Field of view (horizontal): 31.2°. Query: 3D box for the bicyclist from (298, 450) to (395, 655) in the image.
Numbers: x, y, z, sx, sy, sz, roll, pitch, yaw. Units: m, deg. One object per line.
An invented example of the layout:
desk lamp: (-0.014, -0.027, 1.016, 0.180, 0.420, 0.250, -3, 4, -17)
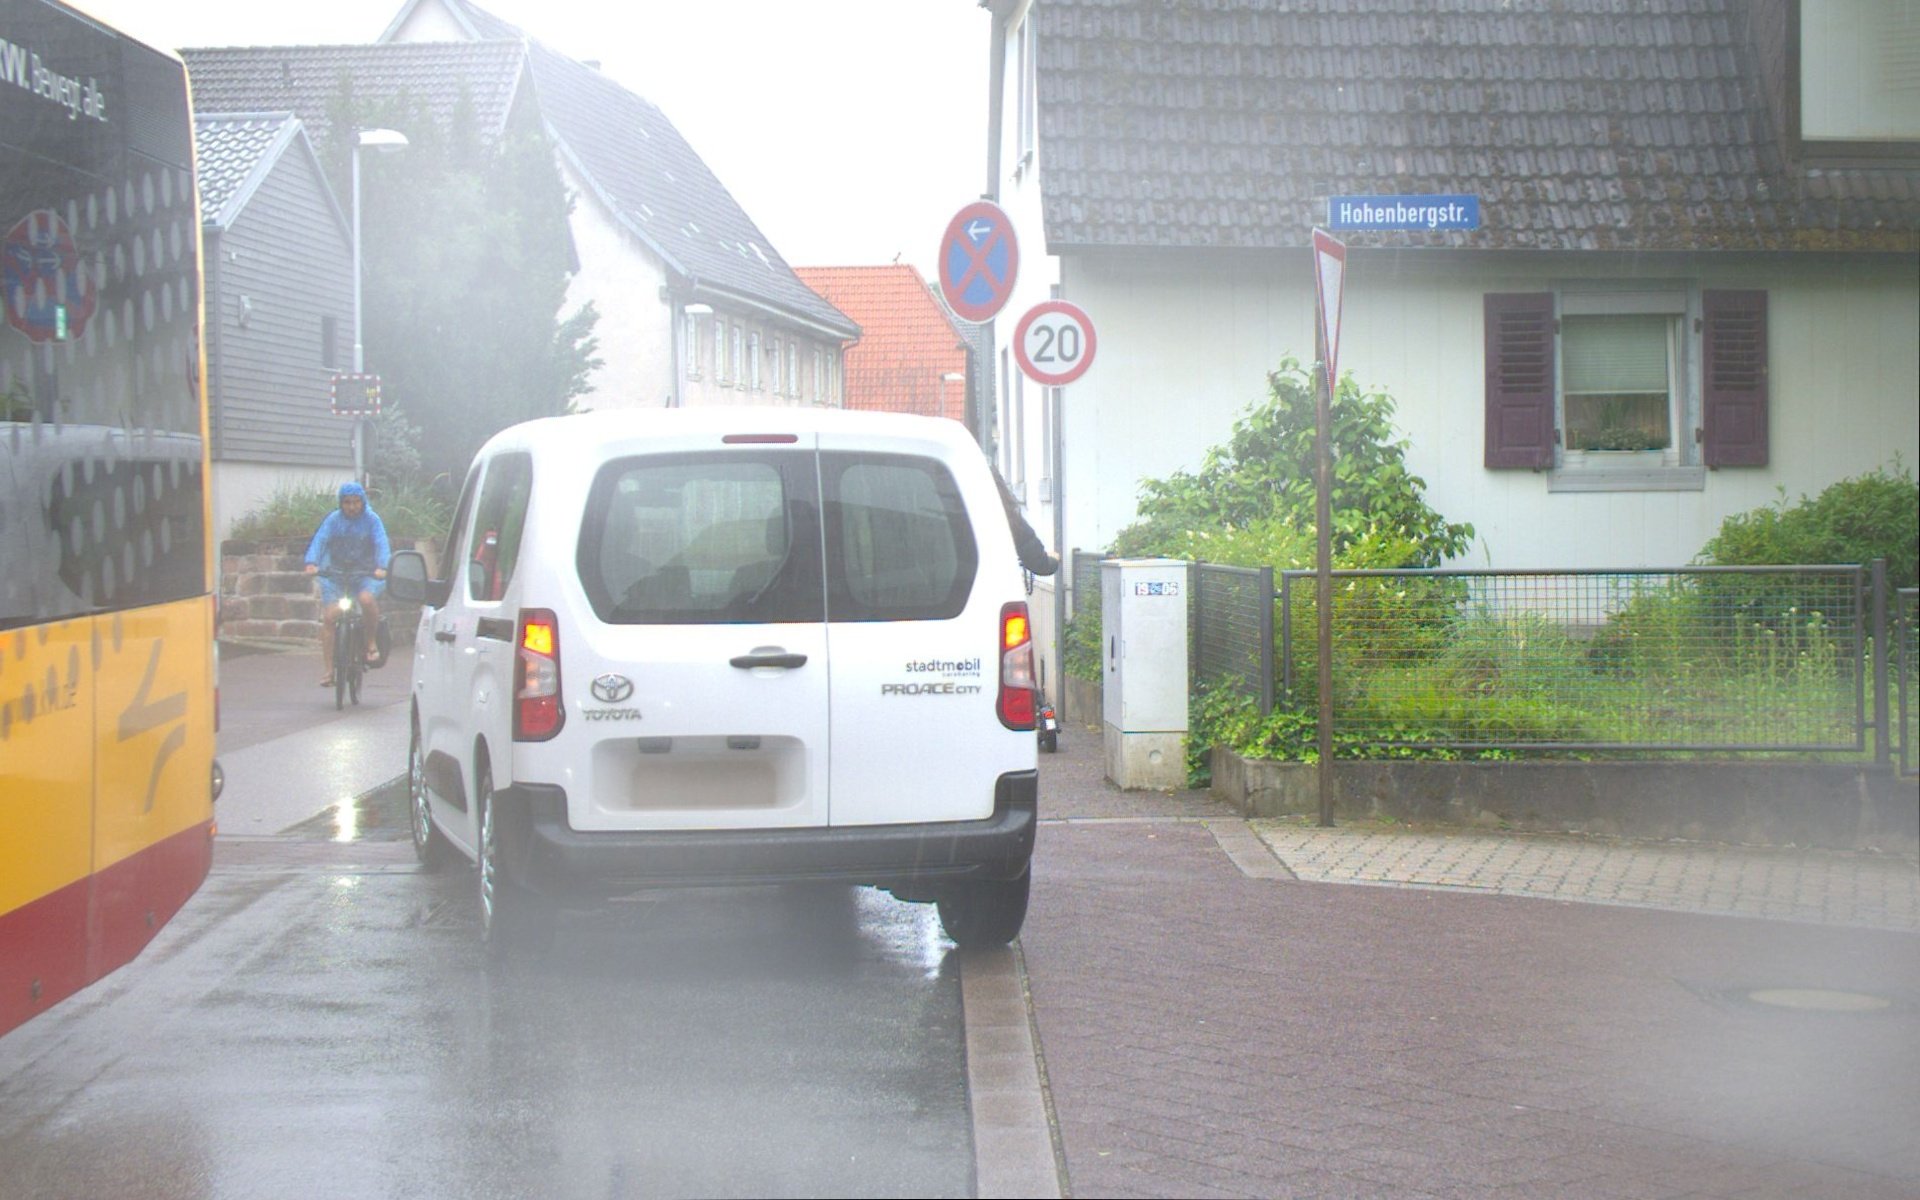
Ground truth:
bicyclist: (-5.192, -0.402, 29.121, 0.687, 1.707, 0.703, 1, 0, -1)

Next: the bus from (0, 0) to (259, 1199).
bus: (-3.444, -0.046, 3.863, 2.806, 2.929, 11.942, 1, 1, 0)

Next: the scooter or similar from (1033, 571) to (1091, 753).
scooter or similar: (0.604, 0.356, 20.464, 0.245, 1.024, 1.100, 1, 2, -2)

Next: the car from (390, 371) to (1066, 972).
car: (-1.024, 0.214, 12.561, 1.794, 1.812, 4.103, 1, 0, -13)

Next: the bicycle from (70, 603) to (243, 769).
bicycle: (-4.944, 0.509, 21.266, 0.661, 0.867, 1.935, 1, 3, -1)

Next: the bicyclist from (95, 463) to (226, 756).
bicyclist: (-4.936, 0.045, 21.250, 0.656, 1.763, 0.703, 1, 3, -1)

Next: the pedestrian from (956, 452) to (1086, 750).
pedestrian: (0.355, -0.004, 20.487, 0.694, 1.726, 0.821, 1, 2, -2)

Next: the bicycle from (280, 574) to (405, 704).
bicycle: (-5.210, 0.307, 29.110, 0.680, 1.047, 2.339, 1, 1, -1)
